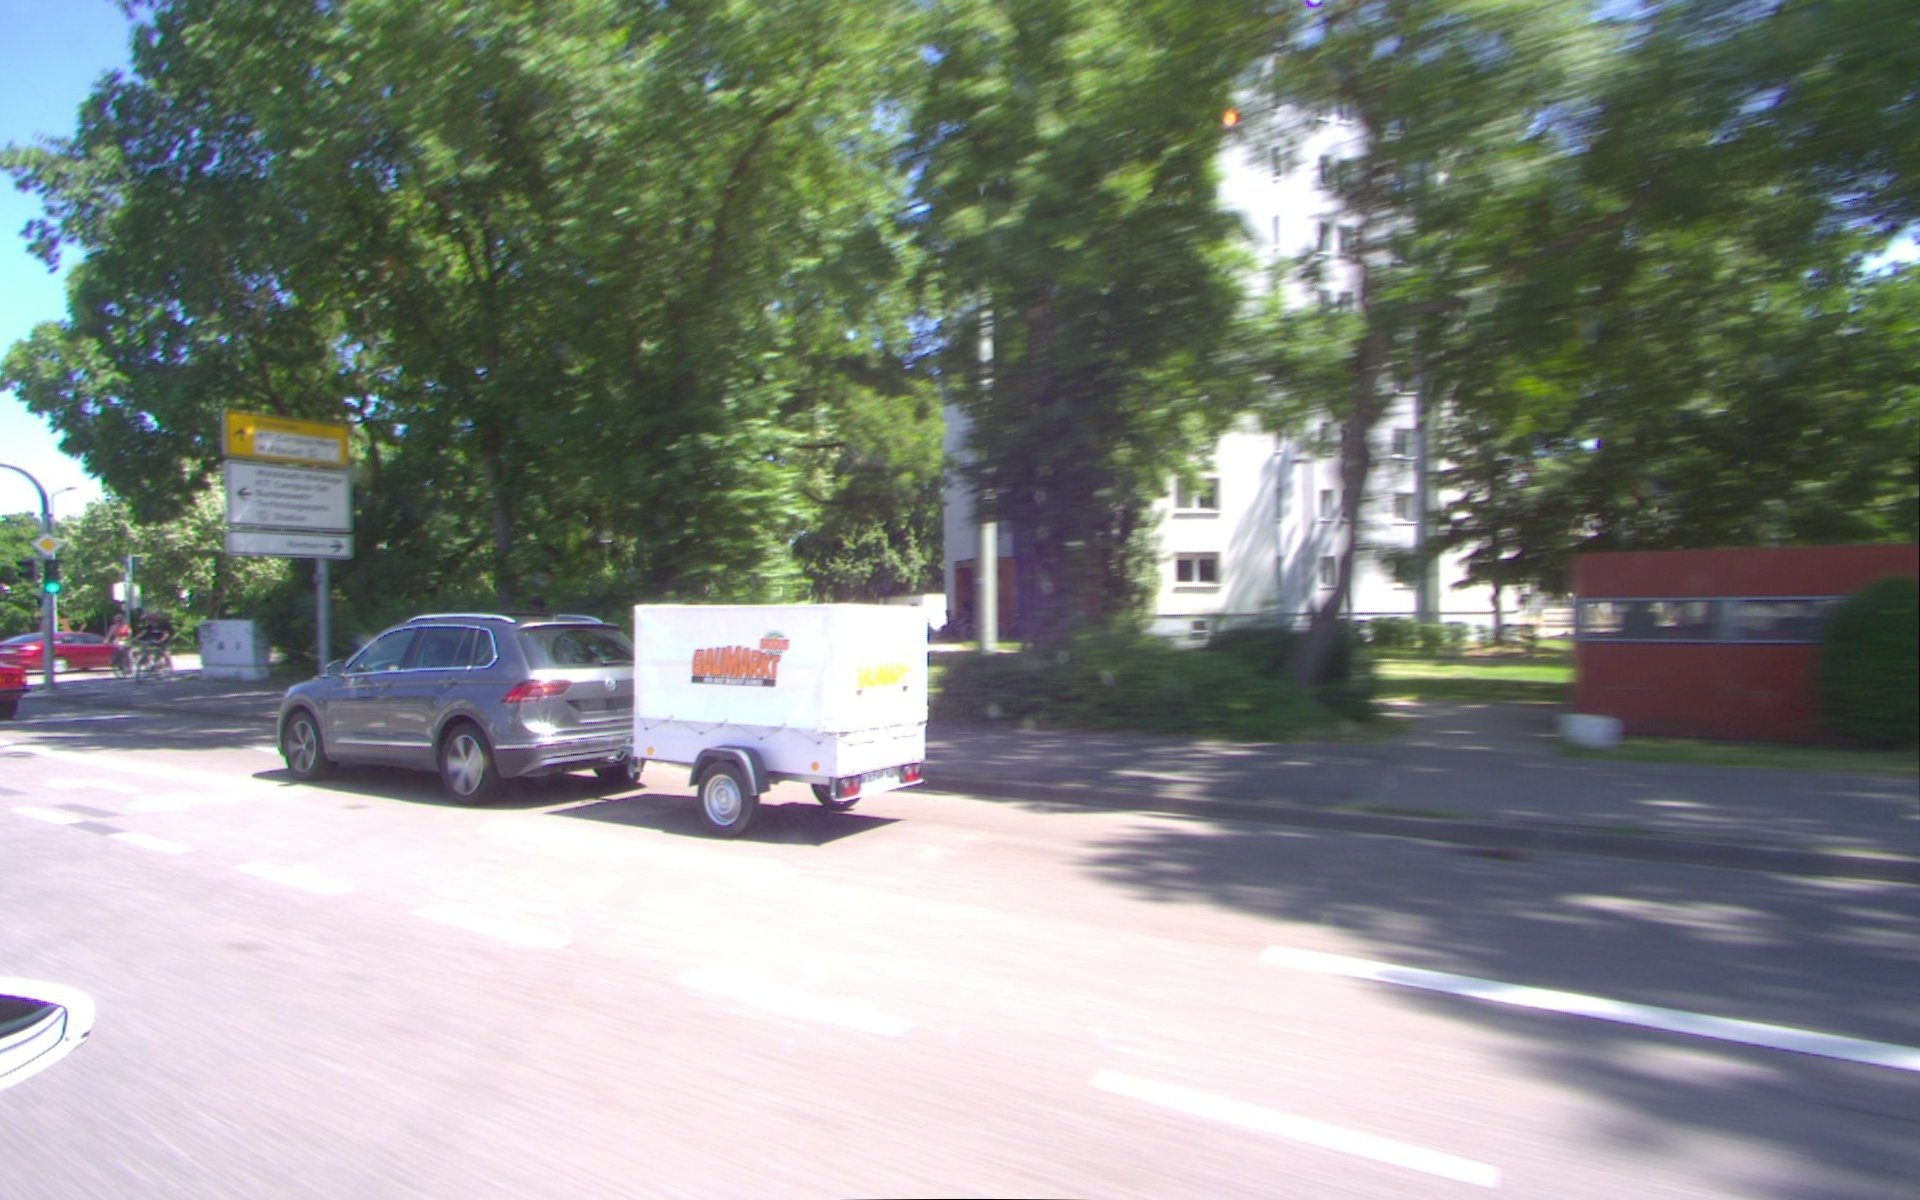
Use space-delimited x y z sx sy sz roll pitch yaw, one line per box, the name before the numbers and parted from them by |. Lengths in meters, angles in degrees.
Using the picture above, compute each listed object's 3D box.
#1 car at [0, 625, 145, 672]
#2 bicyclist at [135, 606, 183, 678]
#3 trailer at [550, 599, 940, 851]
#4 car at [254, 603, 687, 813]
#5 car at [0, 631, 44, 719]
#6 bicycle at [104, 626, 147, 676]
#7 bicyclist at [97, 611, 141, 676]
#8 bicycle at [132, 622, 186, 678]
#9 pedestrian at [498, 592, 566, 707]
car | -32.238 1.698 36.099 1.961 1.523 4.502 0 -1 2
bicyclist | -20.071 1.034 25.100 0.715 1.726 0.676 -3 2 -26
trailer | -1.738 0.877 8.059 2.813 1.690 1.467 -1 -2 30
car | -4.885 0.918 9.836 4.333 1.675 1.698 -1 -2 30
car | -17.446 1.226 16.970 4.203 1.414 1.653 -1 -2 30
bicycle | -23.229 1.395 27.867 1.608 1.322 0.641 -1 2 42
bicyclist | -23.453 1.189 27.922 0.671 1.750 0.797 -1 2 42
bicycle | -20.110 1.234 25.168 0.715 1.313 1.299 -3 1 -26
pedestrian | -7.047 0.800 16.494 0.683 1.840 0.752 0 1 30
